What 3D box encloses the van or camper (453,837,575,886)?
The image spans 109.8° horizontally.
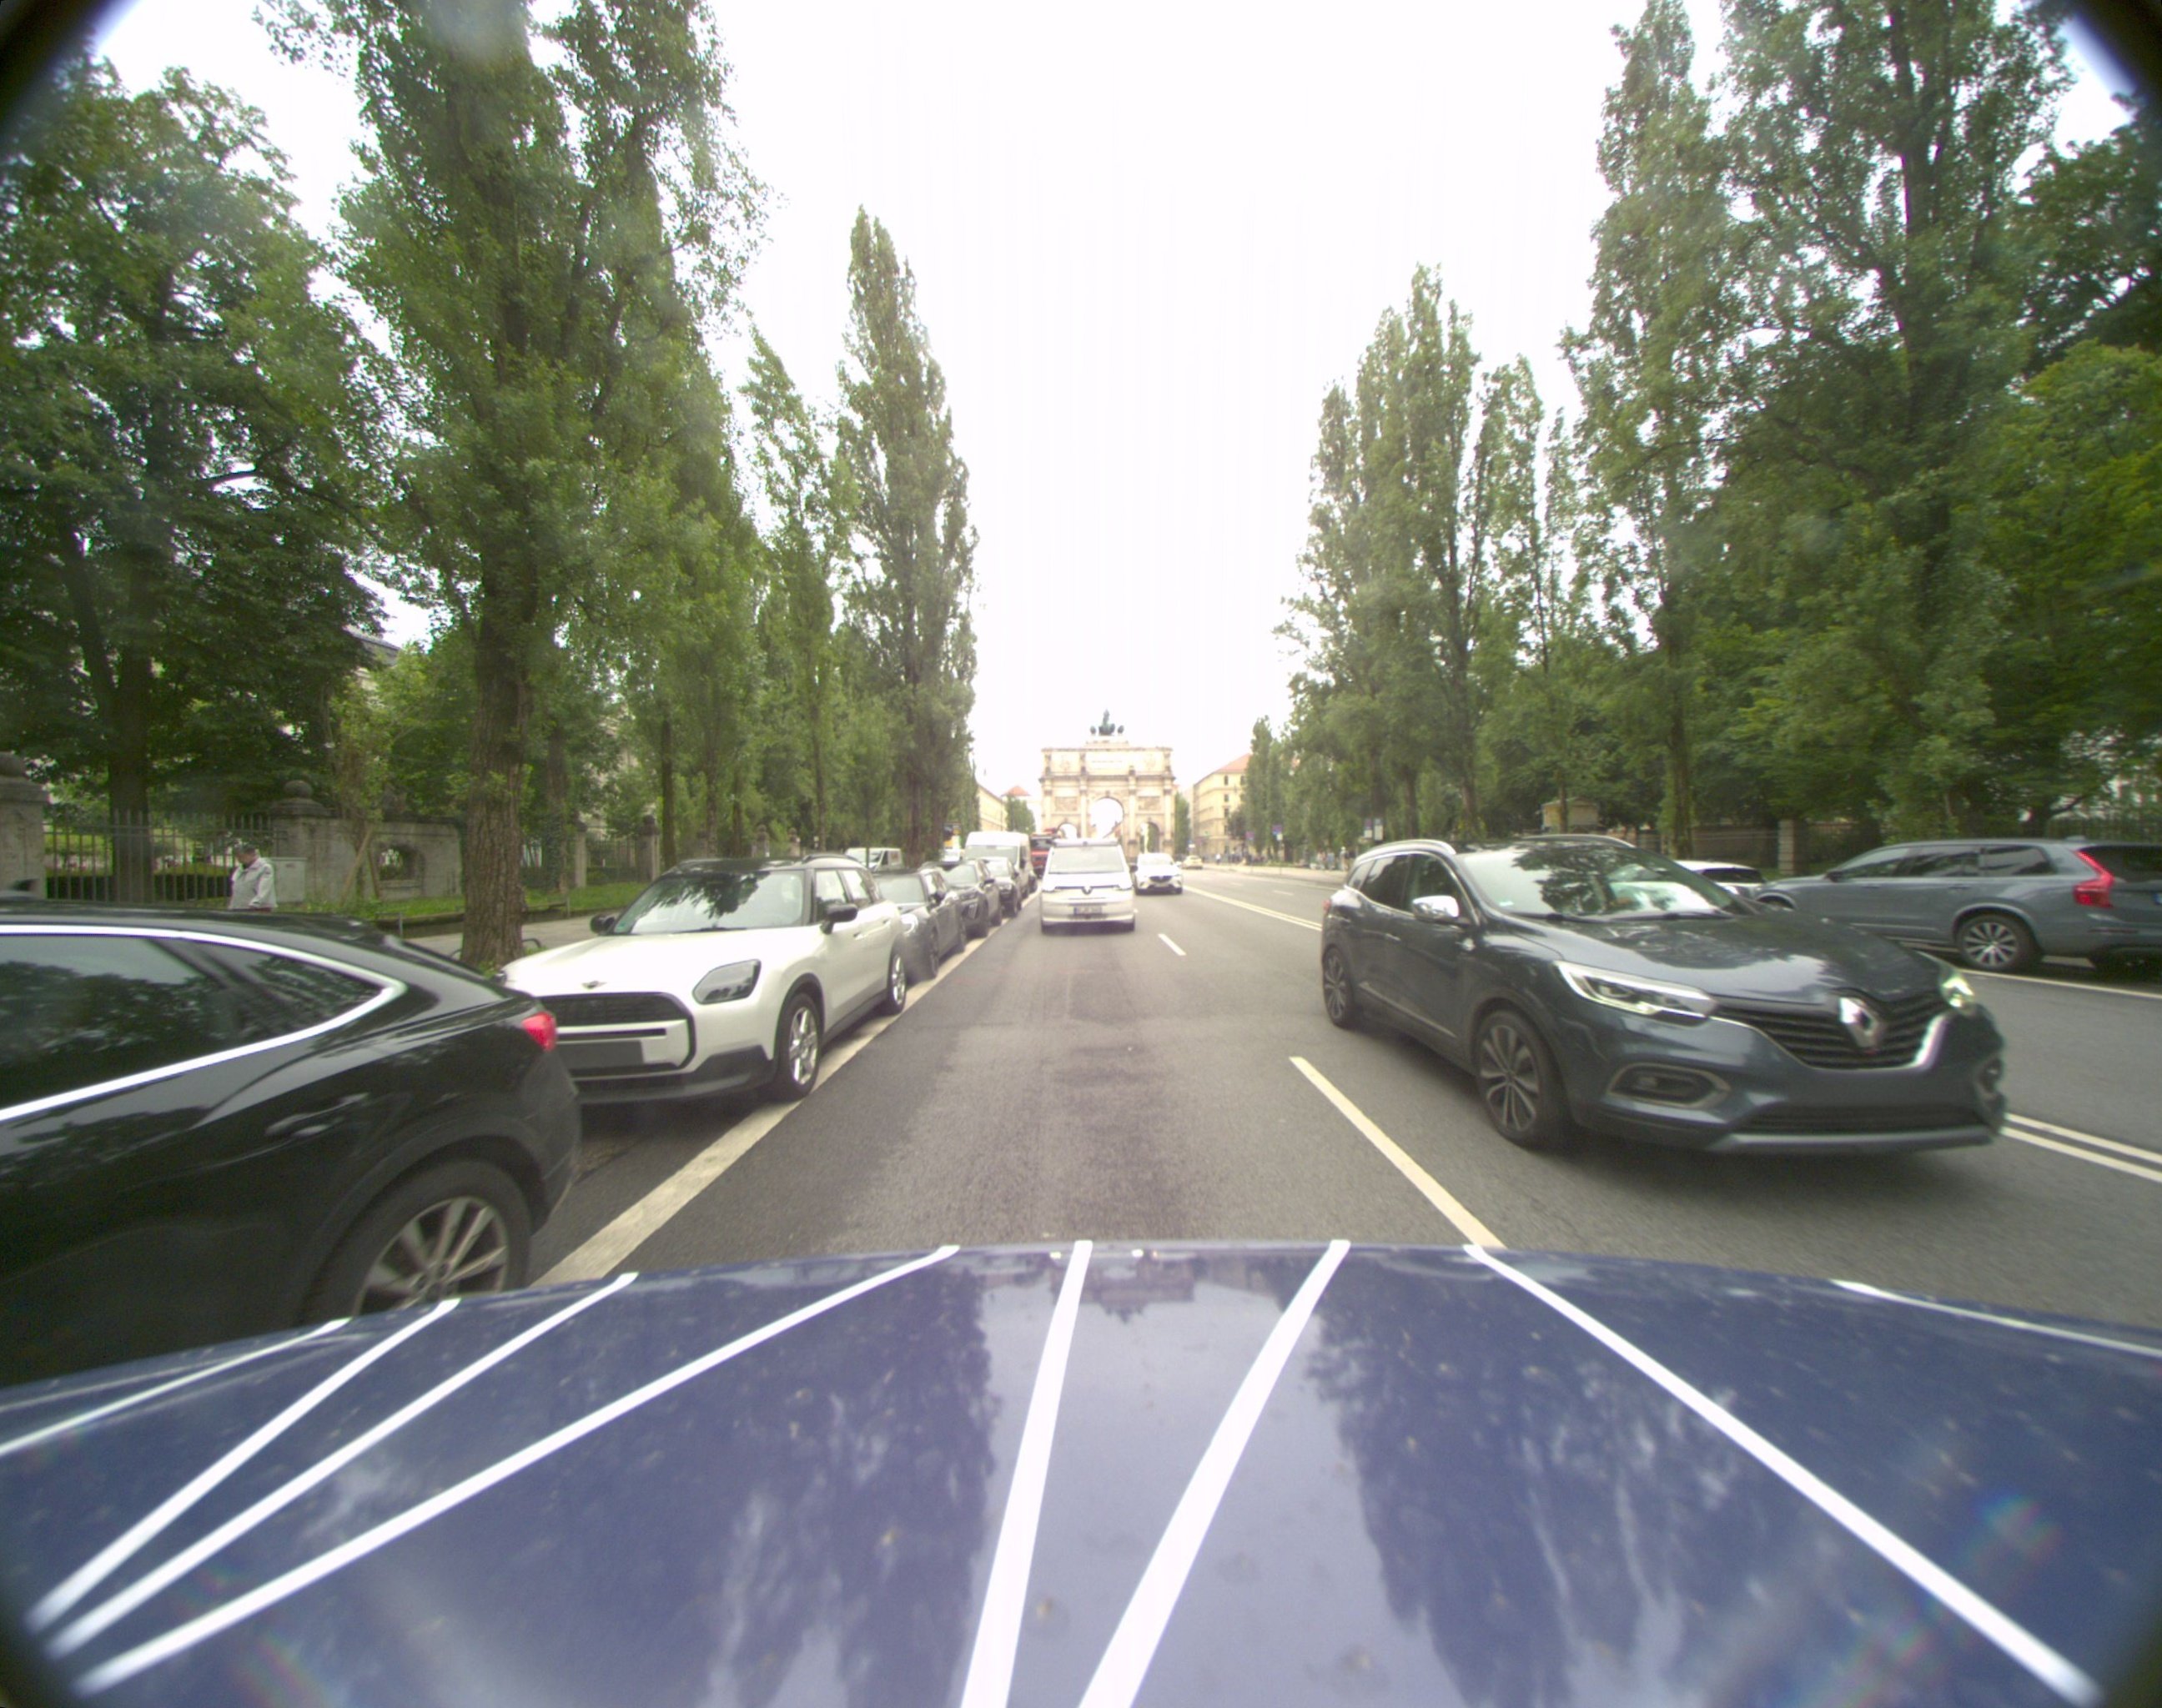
[{"bbox_3d":[-32.061,0.412,43.074,5.222,2.690,2.249,0,0,0],"label":"van or camper"}]

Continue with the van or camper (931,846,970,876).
[{"bbox_3d":[-9.314,0.516,54.588,2.009,2.002,4.985,-2,0,-1],"label":"van or camper"}]

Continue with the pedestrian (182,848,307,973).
[{"bbox_3d":[-12.181,0.792,11.099,0.797,1.758,0.895,-1,1,3],"label":"pedestrian"}]

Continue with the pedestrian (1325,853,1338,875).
[{"bbox_3d":[19.469,0.741,59.096,0.689,1.690,0.885,0,0,0],"label":"pedestrian"}]

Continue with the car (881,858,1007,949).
[{"bbox_3d":[-2.704,0.912,16.070,1.788,1.608,4.638,-1,0,0],"label":"car"}]

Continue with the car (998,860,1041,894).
[{"bbox_3d":[-2.750,0.995,34.653,1.680,1.412,3.999,-1,0,-1],"label":"car"}]

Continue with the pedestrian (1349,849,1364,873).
[{"bbox_3d":[20.605,0.507,56.856,0.711,1.762,1.093,-1,0,-1],"label":"pedestrian"}]

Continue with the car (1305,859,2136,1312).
[{"bbox_3d":[2.953,0.869,4.873,1.840,1.576,4.185,-2,0,1],"label":"car"}]

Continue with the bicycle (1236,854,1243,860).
[{"bbox_3d":[25.091,0.518,120.113,0.674,0.947,1.913,-2,0,-1],"label":"bicycle"}]

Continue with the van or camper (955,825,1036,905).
[{"bbox_3d":[-2.947,0.347,27.639,2.144,2.525,6.417,-1,0,0],"label":"van or camper"}]

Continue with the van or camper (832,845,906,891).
[{"bbox_3d":[-9.661,0.610,35.103,1.980,1.922,5.038,-2,0,0],"label":"van or camper"}]

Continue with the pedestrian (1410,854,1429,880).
[{"bbox_3d":[20.203,0.765,45.369,0.720,1.539,0.875,0,1,-1],"label":"pedestrian"}]

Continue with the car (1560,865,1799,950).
[{"bbox_3d":[12.432,1.025,16.213,1.708,1.450,4.272,2,0,0],"label":"car"}]

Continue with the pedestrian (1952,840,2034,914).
[{"bbox_3d":[22.003,0.544,18.353,0.833,1.731,0.957,0,1,1],"label":"pedestrian"}]

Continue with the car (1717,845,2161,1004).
[{"bbox_3d":[12.497,0.810,11.150,1.914,1.779,5.179,2,0,0],"label":"car"}]

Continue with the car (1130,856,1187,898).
[{"bbox_3d":[2.977,0.850,29.782,1.910,1.516,4.009,-1,0,1],"label":"car"}]

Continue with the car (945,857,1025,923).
[{"bbox_3d":[-2.570,0.910,21.314,1.789,1.639,4.417,-1,0,-2],"label":"car"}]

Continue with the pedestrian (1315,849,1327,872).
[{"bbox_3d":[18.650,0.513,59.133,0.631,1.737,0.908,0,0,0],"label":"pedestrian"}]

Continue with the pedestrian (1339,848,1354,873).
[{"bbox_3d":[19.863,0.500,56.841,0.711,1.823,1.093,-1,1,-1],"label":"pedestrian"}]

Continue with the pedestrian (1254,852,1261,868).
[{"bbox_3d":[18.598,0.601,80.267,0.533,1.720,0.583,-1,0,-11],"label":"pedestrian"}]

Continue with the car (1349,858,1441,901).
[{"bbox_3d":[12.690,0.972,31.035,1.949,1.574,4.389,1,0,1],"label":"car"}]

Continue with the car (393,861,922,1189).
[{"bbox_3d":[-2.676,0.912,6.241,1.747,1.665,4.580,-1,0,0],"label":"car"}]

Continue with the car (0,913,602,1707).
[{"bbox_3d":[-2.804,0.993,0.653,1.885,1.531,4.464,-1,0,1],"label":"car"}]

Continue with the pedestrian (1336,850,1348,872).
[{"bbox_3d":[20.372,0.517,59.280,0.661,1.706,0.911,0,0,0],"label":"pedestrian"}]

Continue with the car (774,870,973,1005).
[{"bbox_3d":[-2.771,1.043,11.175,1.707,1.511,4.295,-1,0,0],"label":"car"}]

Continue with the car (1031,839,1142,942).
[{"bbox_3d":[0.161,0.690,17.281,2.064,1.916,5.728,-1,0,1],"label":"car"}]

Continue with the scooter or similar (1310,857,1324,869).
[{"bbox_3d":[21.897,0.824,70.448,0.747,1.171,1.416,1,0,-4],"label":"scooter or similar"}]

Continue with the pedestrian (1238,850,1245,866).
[{"bbox_3d":[18.044,0.426,85.292,0.533,1.720,0.583,-1,0,-11],"label":"pedestrian"}]

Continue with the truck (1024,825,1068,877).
[{"bbox_3d":[-2.536,-0.223,57.866,2.852,3.543,10.278,-1,0,-1],"label":"truck"}]

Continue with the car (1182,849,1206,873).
[{"bbox_3d":[12.178,0.685,82.207,1.797,1.333,4.455,0,17,-1],"label":"car"}]

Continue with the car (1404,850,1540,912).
[{"bbox_3d":[12.510,0.780,24.747,2.051,1.776,4.800,2,0,2],"label":"car"}]
